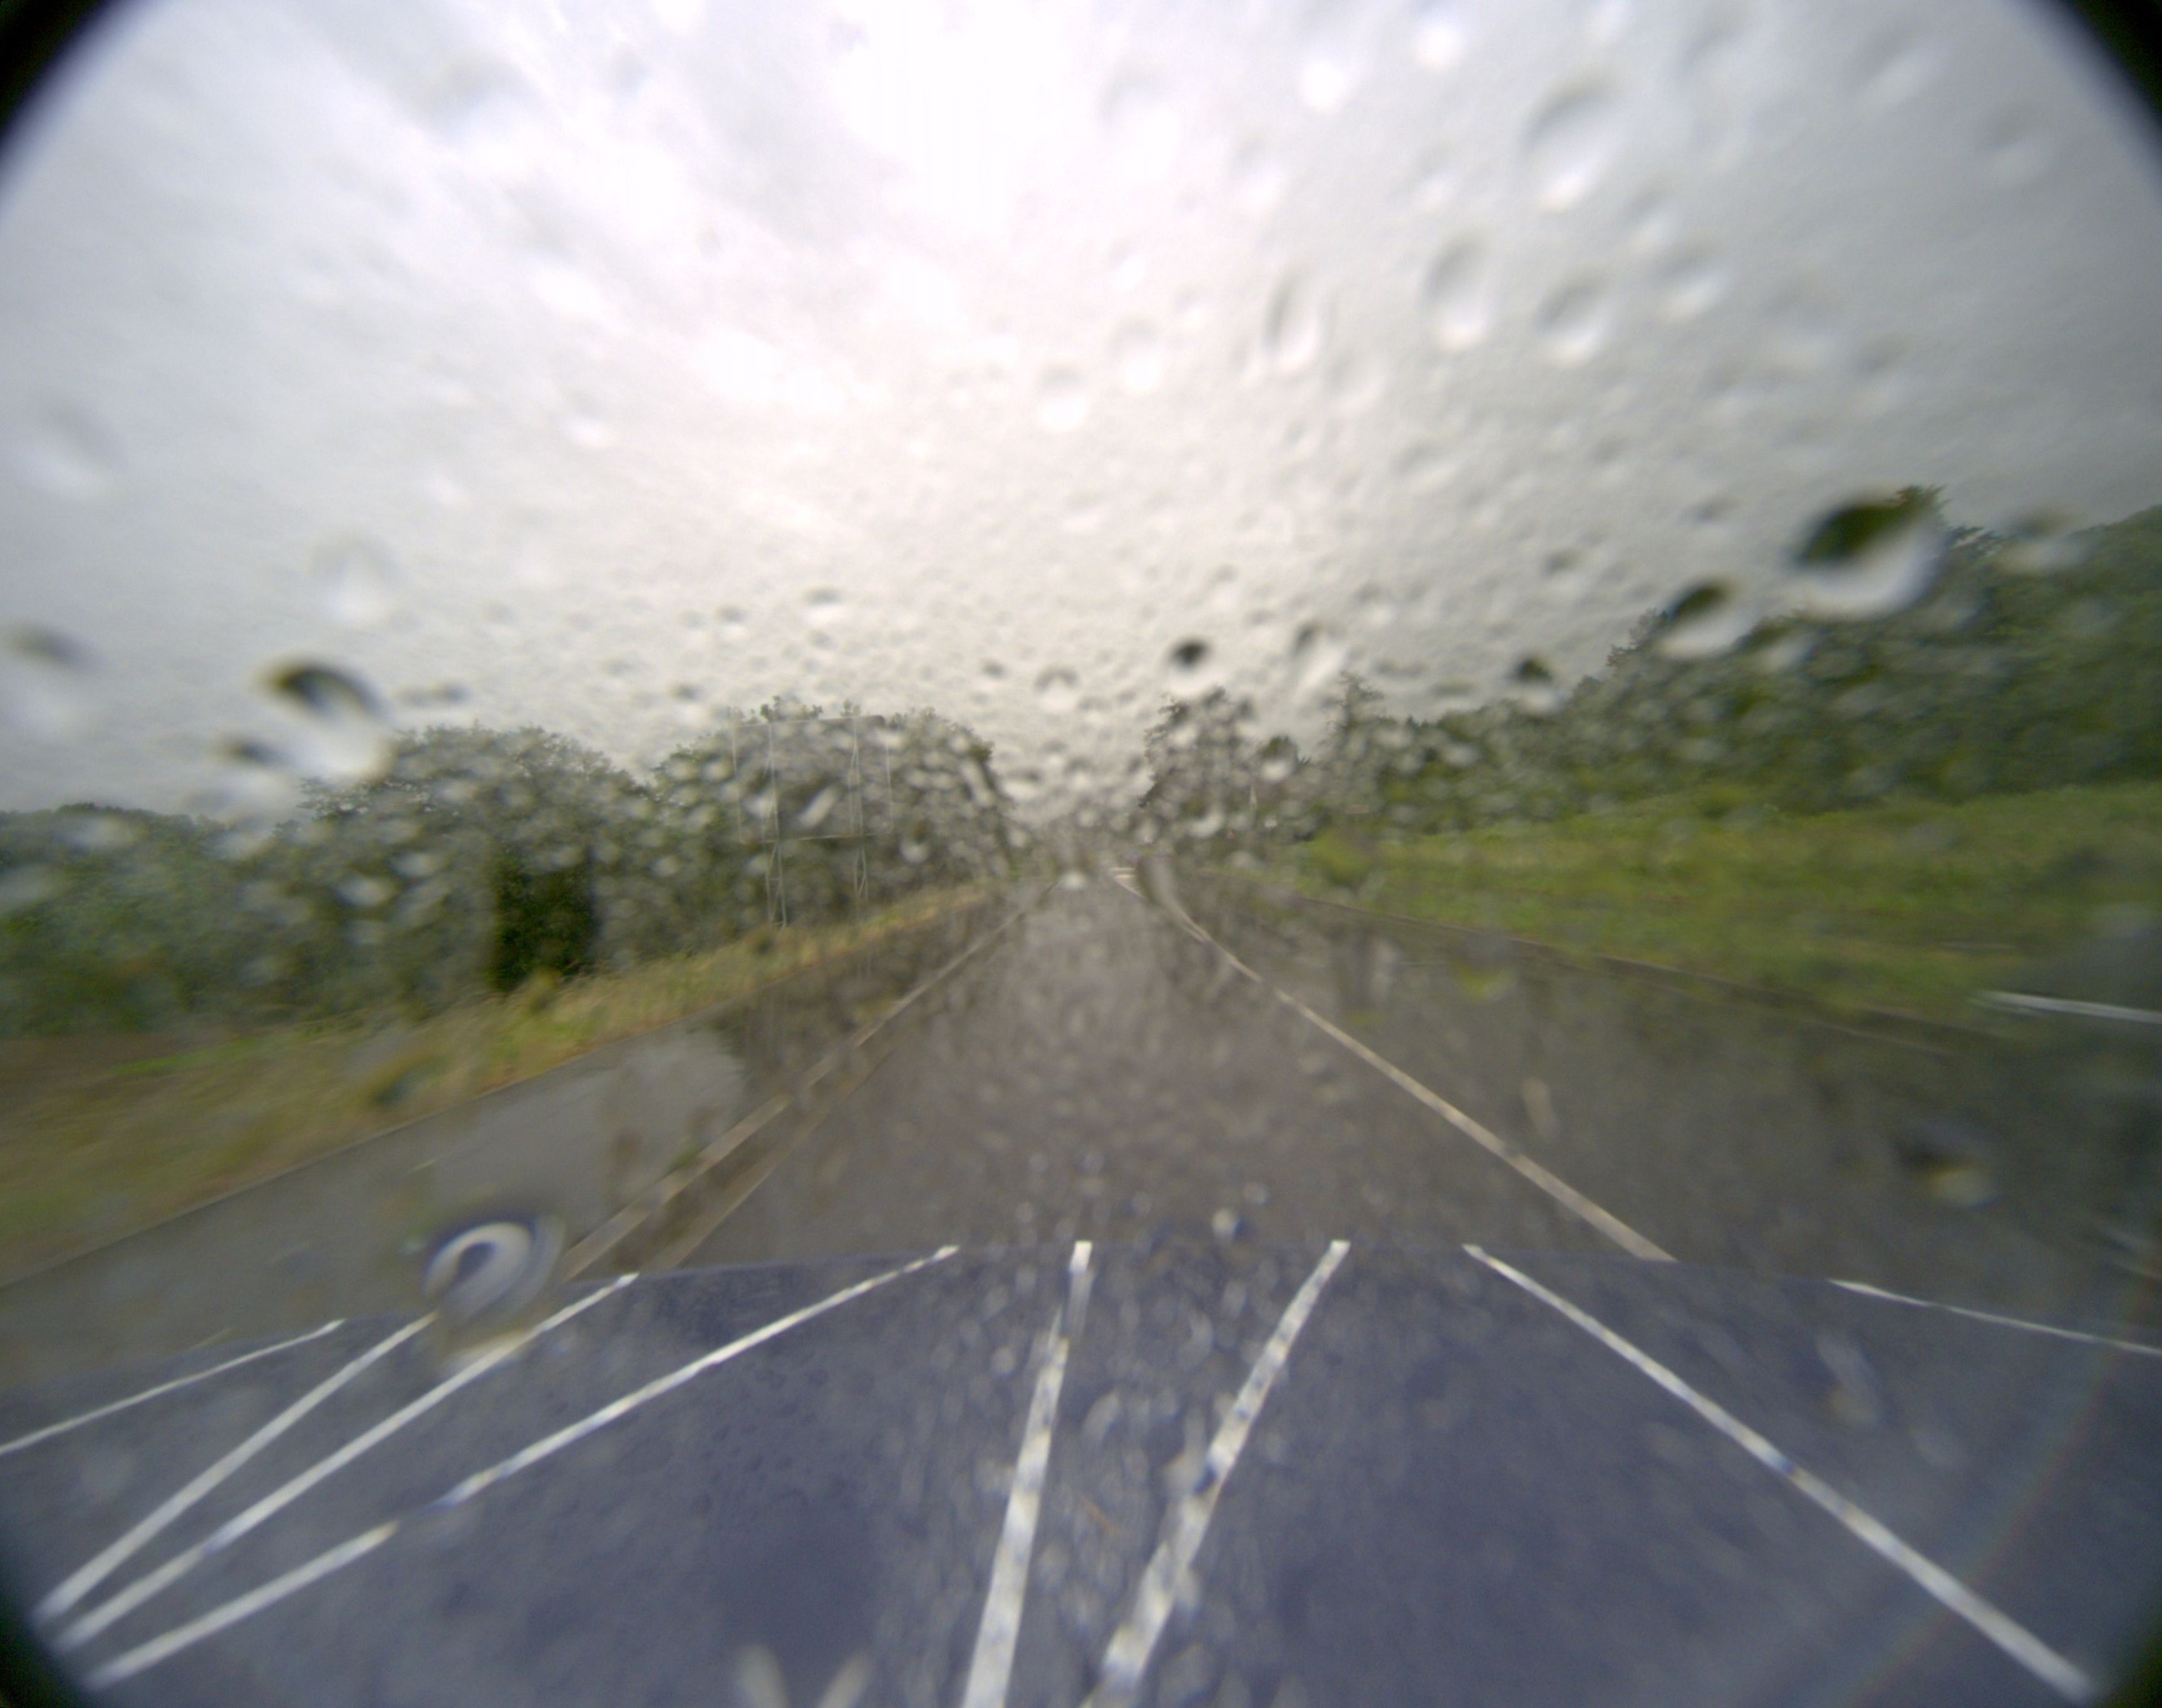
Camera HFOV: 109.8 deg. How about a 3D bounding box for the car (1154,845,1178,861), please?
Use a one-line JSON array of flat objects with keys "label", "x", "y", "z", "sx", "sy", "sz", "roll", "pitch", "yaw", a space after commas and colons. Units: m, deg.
[{"label": "car", "x": 6.976, "y": -0.115, "z": 62.696, "sx": 1.540, "sy": 1.237, "sz": 3.999, "roll": -2, "pitch": 1, "yaw": 1}]
